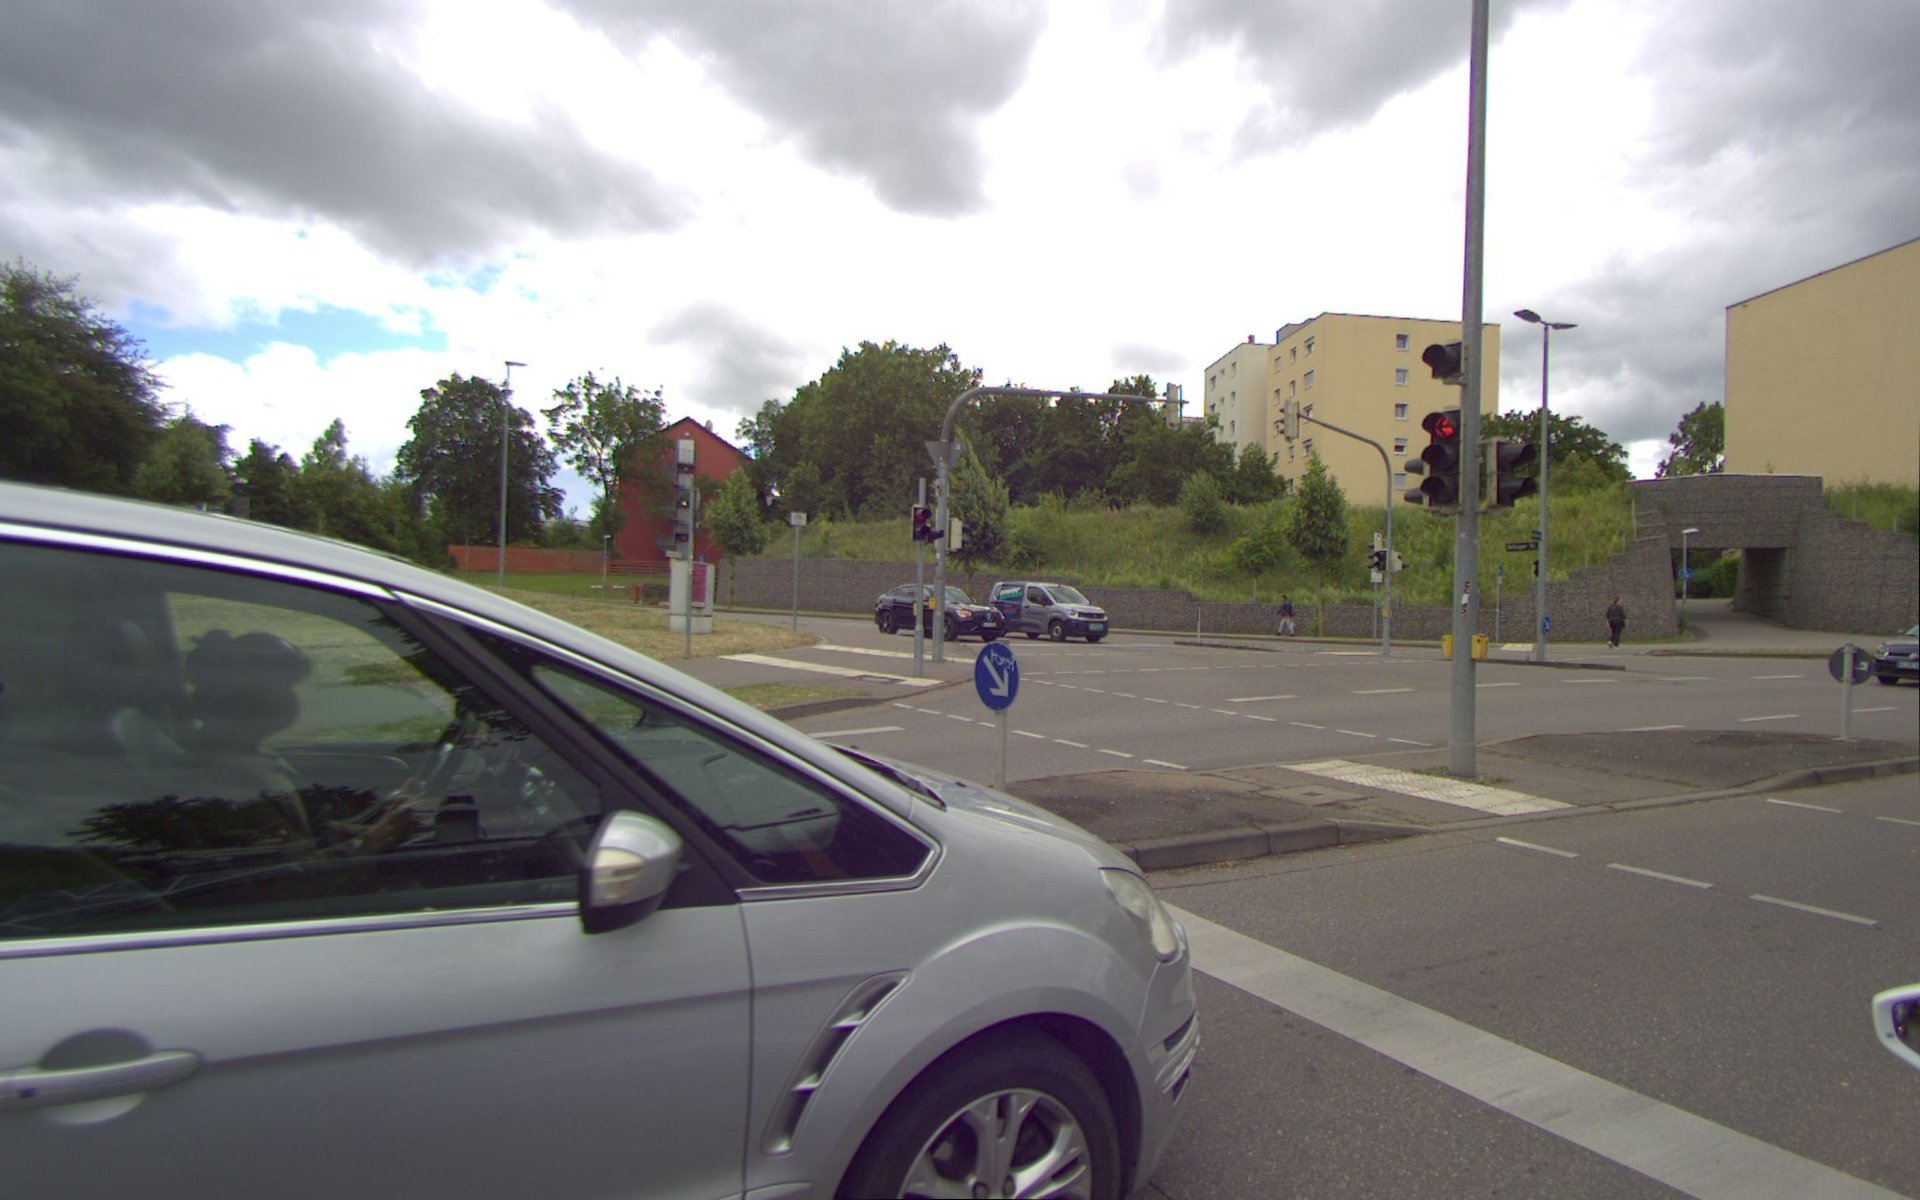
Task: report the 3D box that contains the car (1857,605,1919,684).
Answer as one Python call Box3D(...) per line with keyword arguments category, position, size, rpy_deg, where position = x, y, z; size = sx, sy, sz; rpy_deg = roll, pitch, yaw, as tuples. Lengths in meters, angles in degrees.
Box3D(category="car", position=(20.195, 0.864, 20.174), size=(4.010, 1.474, 1.750), rpy_deg=(0, 1, -24))

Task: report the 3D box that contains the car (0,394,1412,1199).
Box3D(category="car", position=(-1.336, 0.591, 2.007), size=(4.458, 1.660, 1.817), rpy_deg=(1, 1, -30))

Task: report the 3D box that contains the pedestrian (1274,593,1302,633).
Box3D(category="pedestrian", position=(13.150, 0.510, 40.304), size=(0.885, 1.579, 0.800), rpy_deg=(2, 1, 32))

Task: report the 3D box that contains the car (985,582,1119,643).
Box3D(category="car", position=(2.840, 0.350, 31.799), size=(1.746, 1.751, 4.212), rpy_deg=(1, 1, -40))

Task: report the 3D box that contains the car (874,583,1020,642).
Box3D(category="car", position=(-0.458, 0.328, 29.503), size=(2.094, 1.572, 4.212), rpy_deg=(1, 1, -40))

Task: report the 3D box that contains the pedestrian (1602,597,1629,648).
Box3D(category="pedestrian", position=(20.922, 0.703, 32.054), size=(0.612, 1.579, 0.579), rpy_deg=(1, 1, 26))
